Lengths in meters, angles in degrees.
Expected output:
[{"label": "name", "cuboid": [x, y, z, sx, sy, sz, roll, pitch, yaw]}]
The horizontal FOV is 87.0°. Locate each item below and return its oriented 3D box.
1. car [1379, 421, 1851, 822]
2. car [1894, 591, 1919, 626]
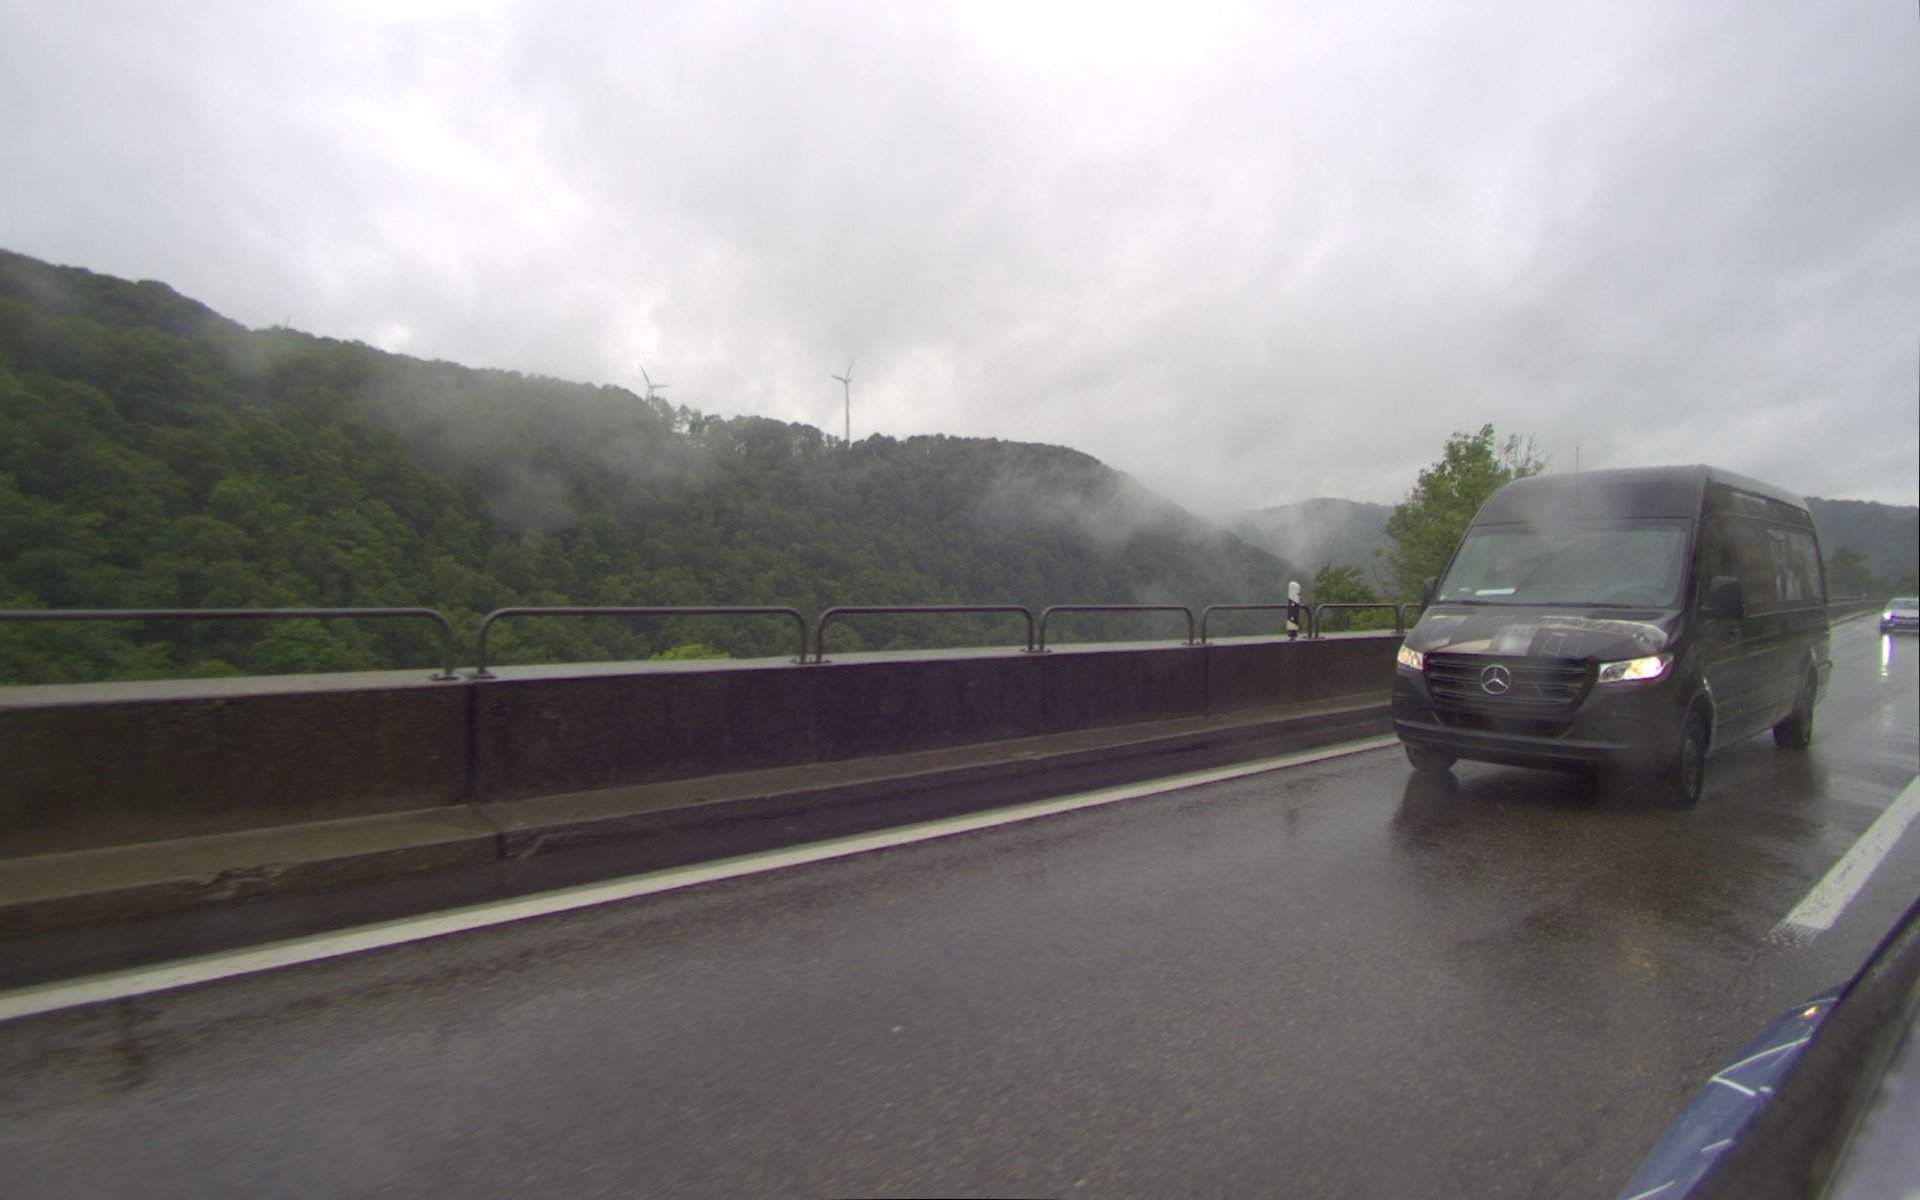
[{"label": "car", "cuboid": [6.373, 0.094, 9.324, 6.590, 2.525, 1.996, 0, 1, -42]}, {"label": "car", "cuboid": [42.222, 0.357, 44.062, 4.487, 1.433, 1.988, 0, 1, -43]}]
